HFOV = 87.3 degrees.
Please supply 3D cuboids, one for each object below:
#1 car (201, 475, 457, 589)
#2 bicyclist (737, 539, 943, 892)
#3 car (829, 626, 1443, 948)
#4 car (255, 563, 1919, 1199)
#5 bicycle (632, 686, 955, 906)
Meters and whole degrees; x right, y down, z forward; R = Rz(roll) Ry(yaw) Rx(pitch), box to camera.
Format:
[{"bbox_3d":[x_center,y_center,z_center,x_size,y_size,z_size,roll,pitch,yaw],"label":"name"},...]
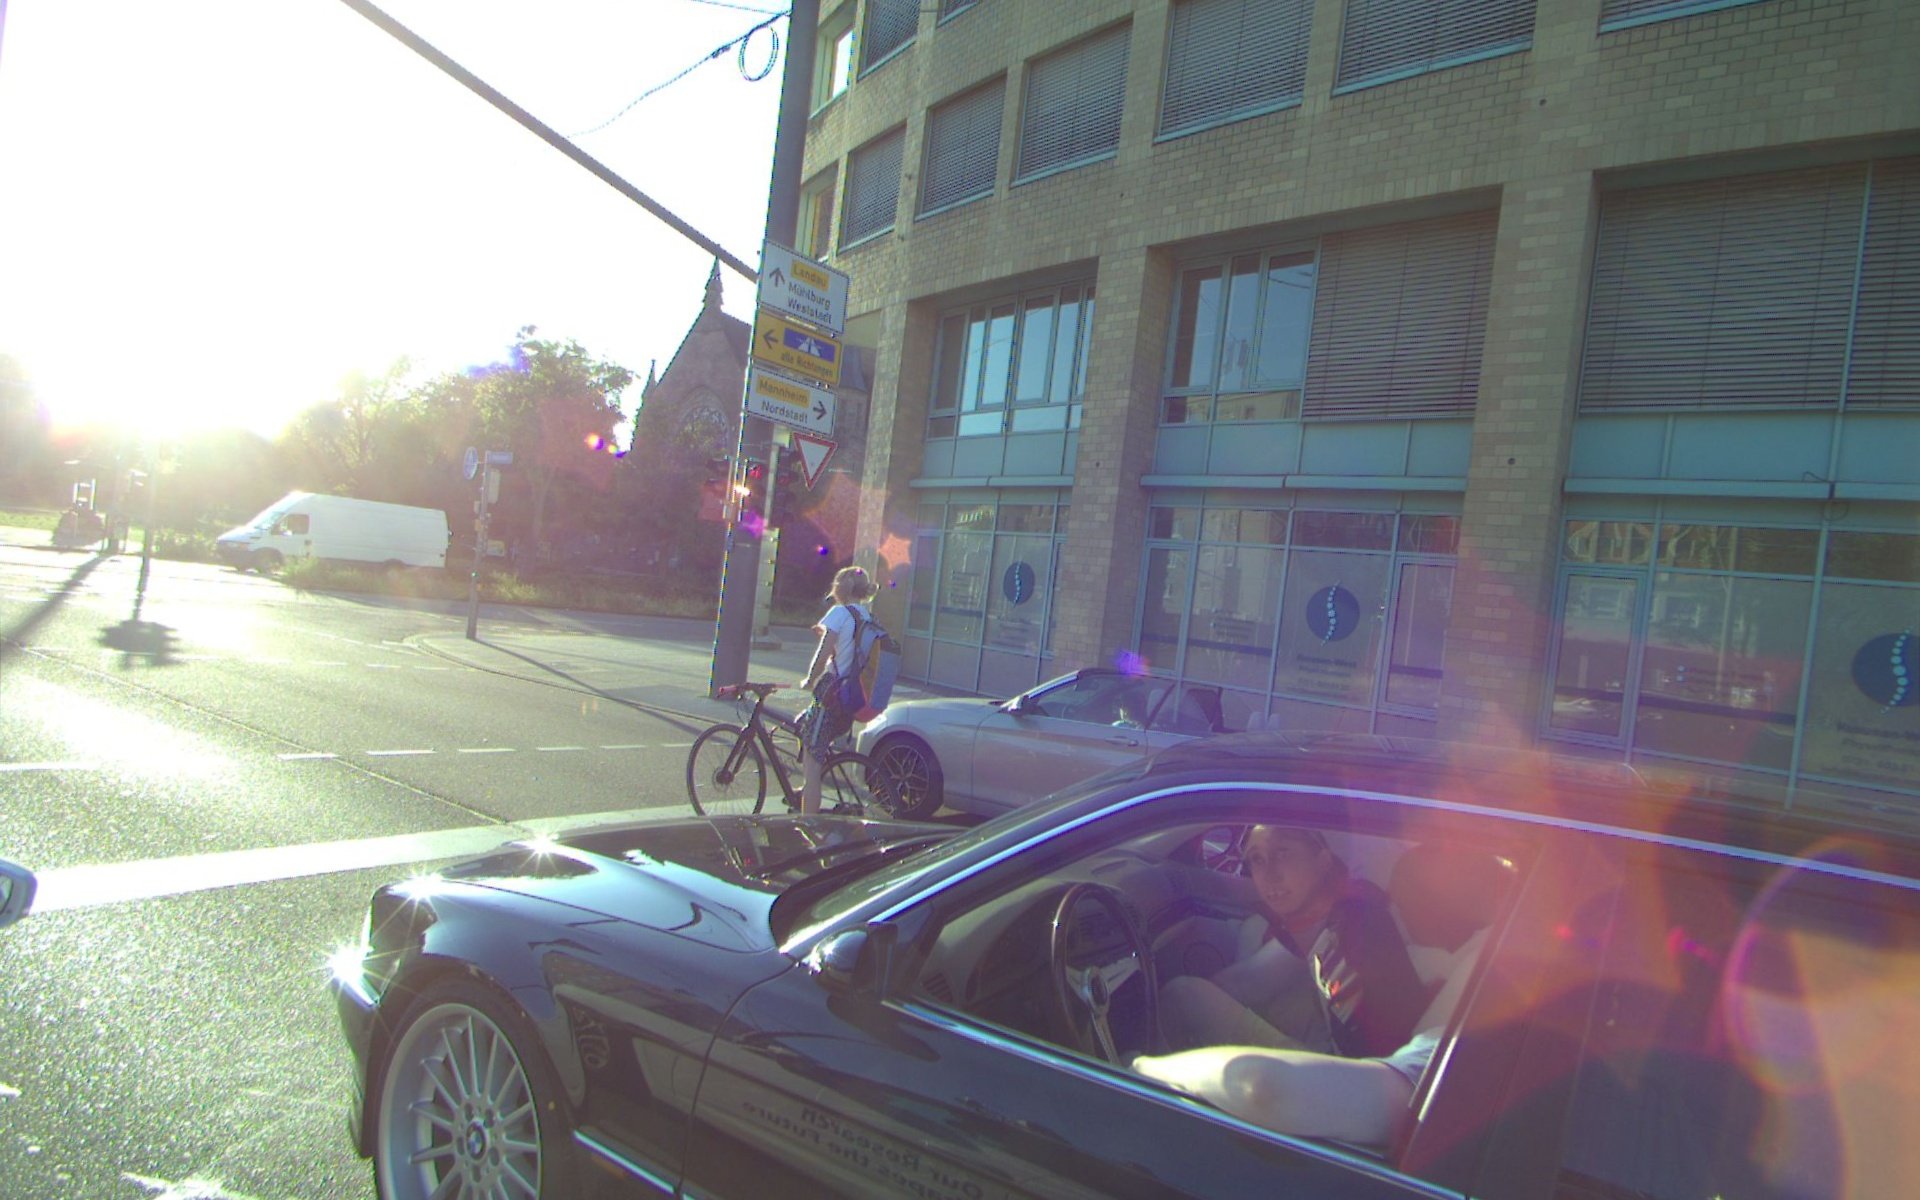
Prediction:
[{"bbox_3d":[-21.287,-2.195,34.431,2.059,2.862,7.017,7,0,33],"label":"car"},{"bbox_3d":[-0.688,0.629,5.826,0.764,1.843,0.634,7,1,30],"label":"bicyclist"},{"bbox_3d":[1.243,1.196,7.684,4.157,1.401,1.747,7,-1,31],"label":"car"},{"bbox_3d":[0.887,0.933,2.008,4.661,1.402,1.997,7,-1,32],"label":"car"},{"bbox_3d":[-1.025,1.090,5.993,1.838,0.884,0.634,7,0,30],"label":"bicycle"}]
